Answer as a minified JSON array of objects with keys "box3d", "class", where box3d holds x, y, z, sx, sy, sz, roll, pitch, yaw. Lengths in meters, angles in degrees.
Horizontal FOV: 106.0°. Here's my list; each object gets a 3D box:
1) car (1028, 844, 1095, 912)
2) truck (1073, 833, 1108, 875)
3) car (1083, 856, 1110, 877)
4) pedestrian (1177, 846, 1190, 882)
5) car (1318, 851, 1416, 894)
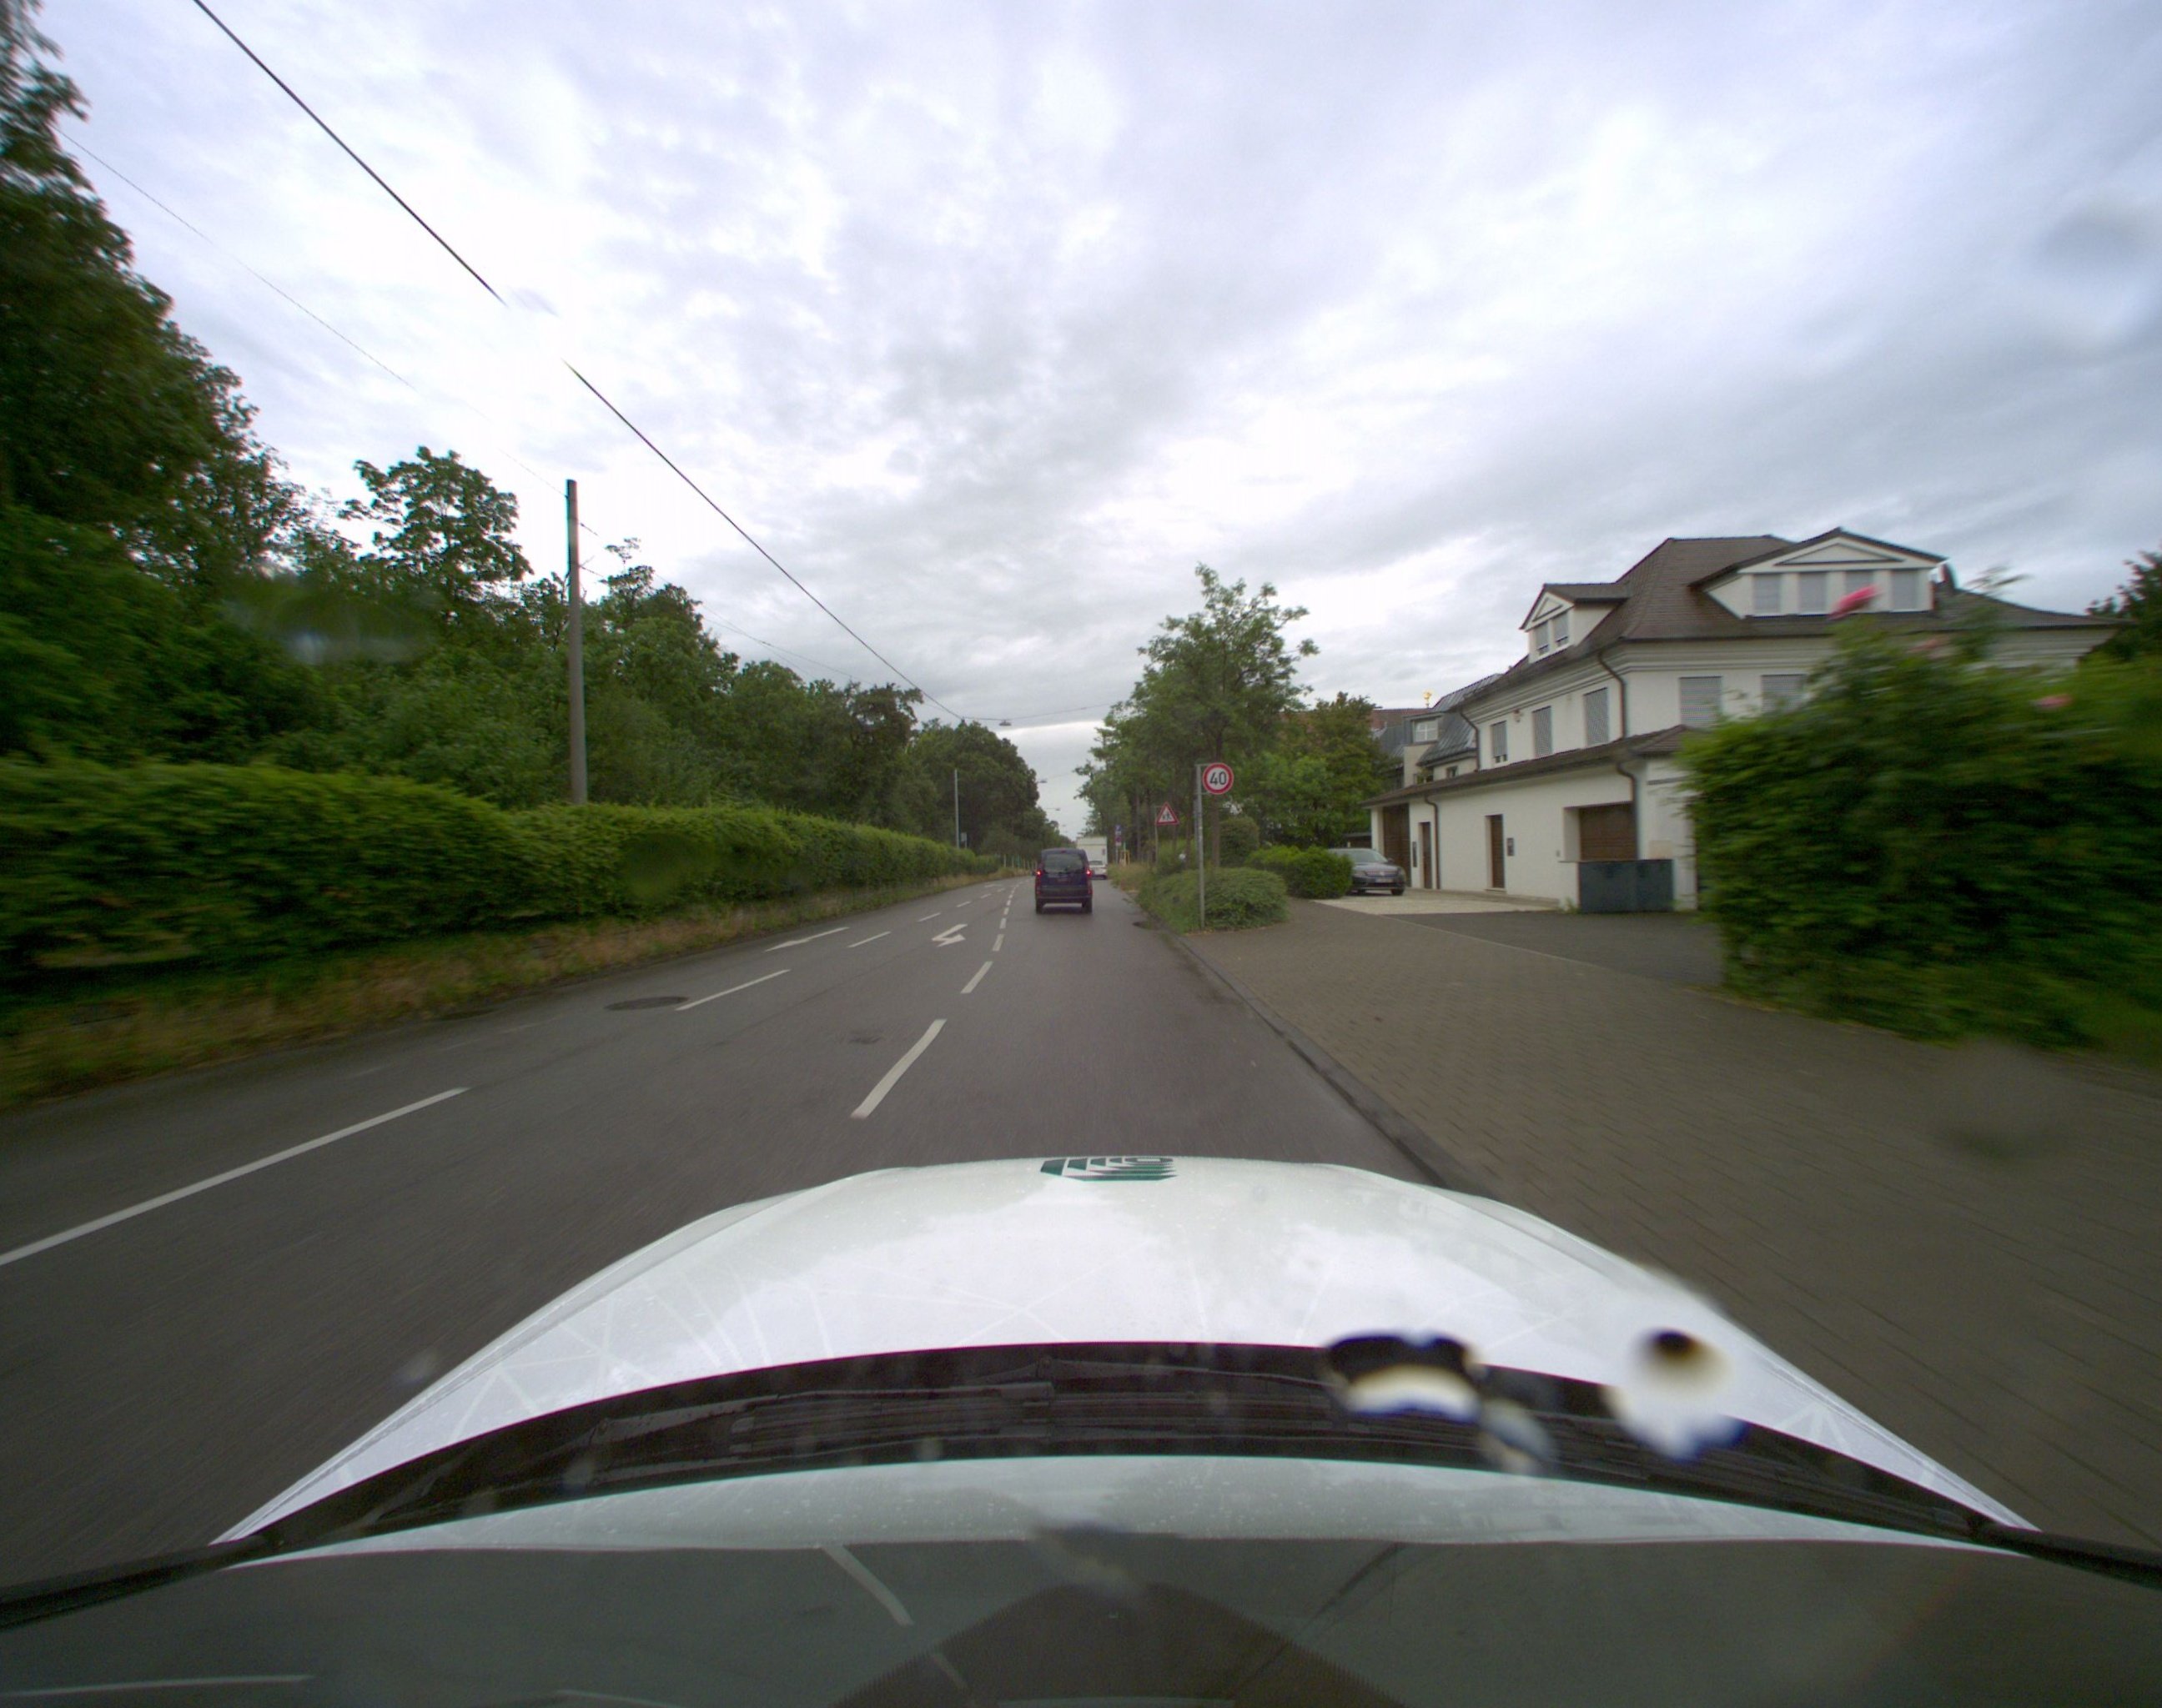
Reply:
[{"box3d":[-0.557,0.677,24.359,1.803,1.797,3.998,-2,0,-1],"class":"car"},{"box3d":[0.763,0.003,70.403,2.724,3.387,6.681,-2,0,-1],"class":"truck"},{"box3d":[1.133,0.913,59.811,1.808,1.380,4.283,-2,0,-1],"class":"car"},{"box3d":[5.016,0.490,39.888,0.558,1.708,0.517,-2,-1,8],"class":"pedestrian"},{"box3d":[8.668,0.532,25.042,1.823,1.176,4.004,-1,0,4],"class":"car"}]
